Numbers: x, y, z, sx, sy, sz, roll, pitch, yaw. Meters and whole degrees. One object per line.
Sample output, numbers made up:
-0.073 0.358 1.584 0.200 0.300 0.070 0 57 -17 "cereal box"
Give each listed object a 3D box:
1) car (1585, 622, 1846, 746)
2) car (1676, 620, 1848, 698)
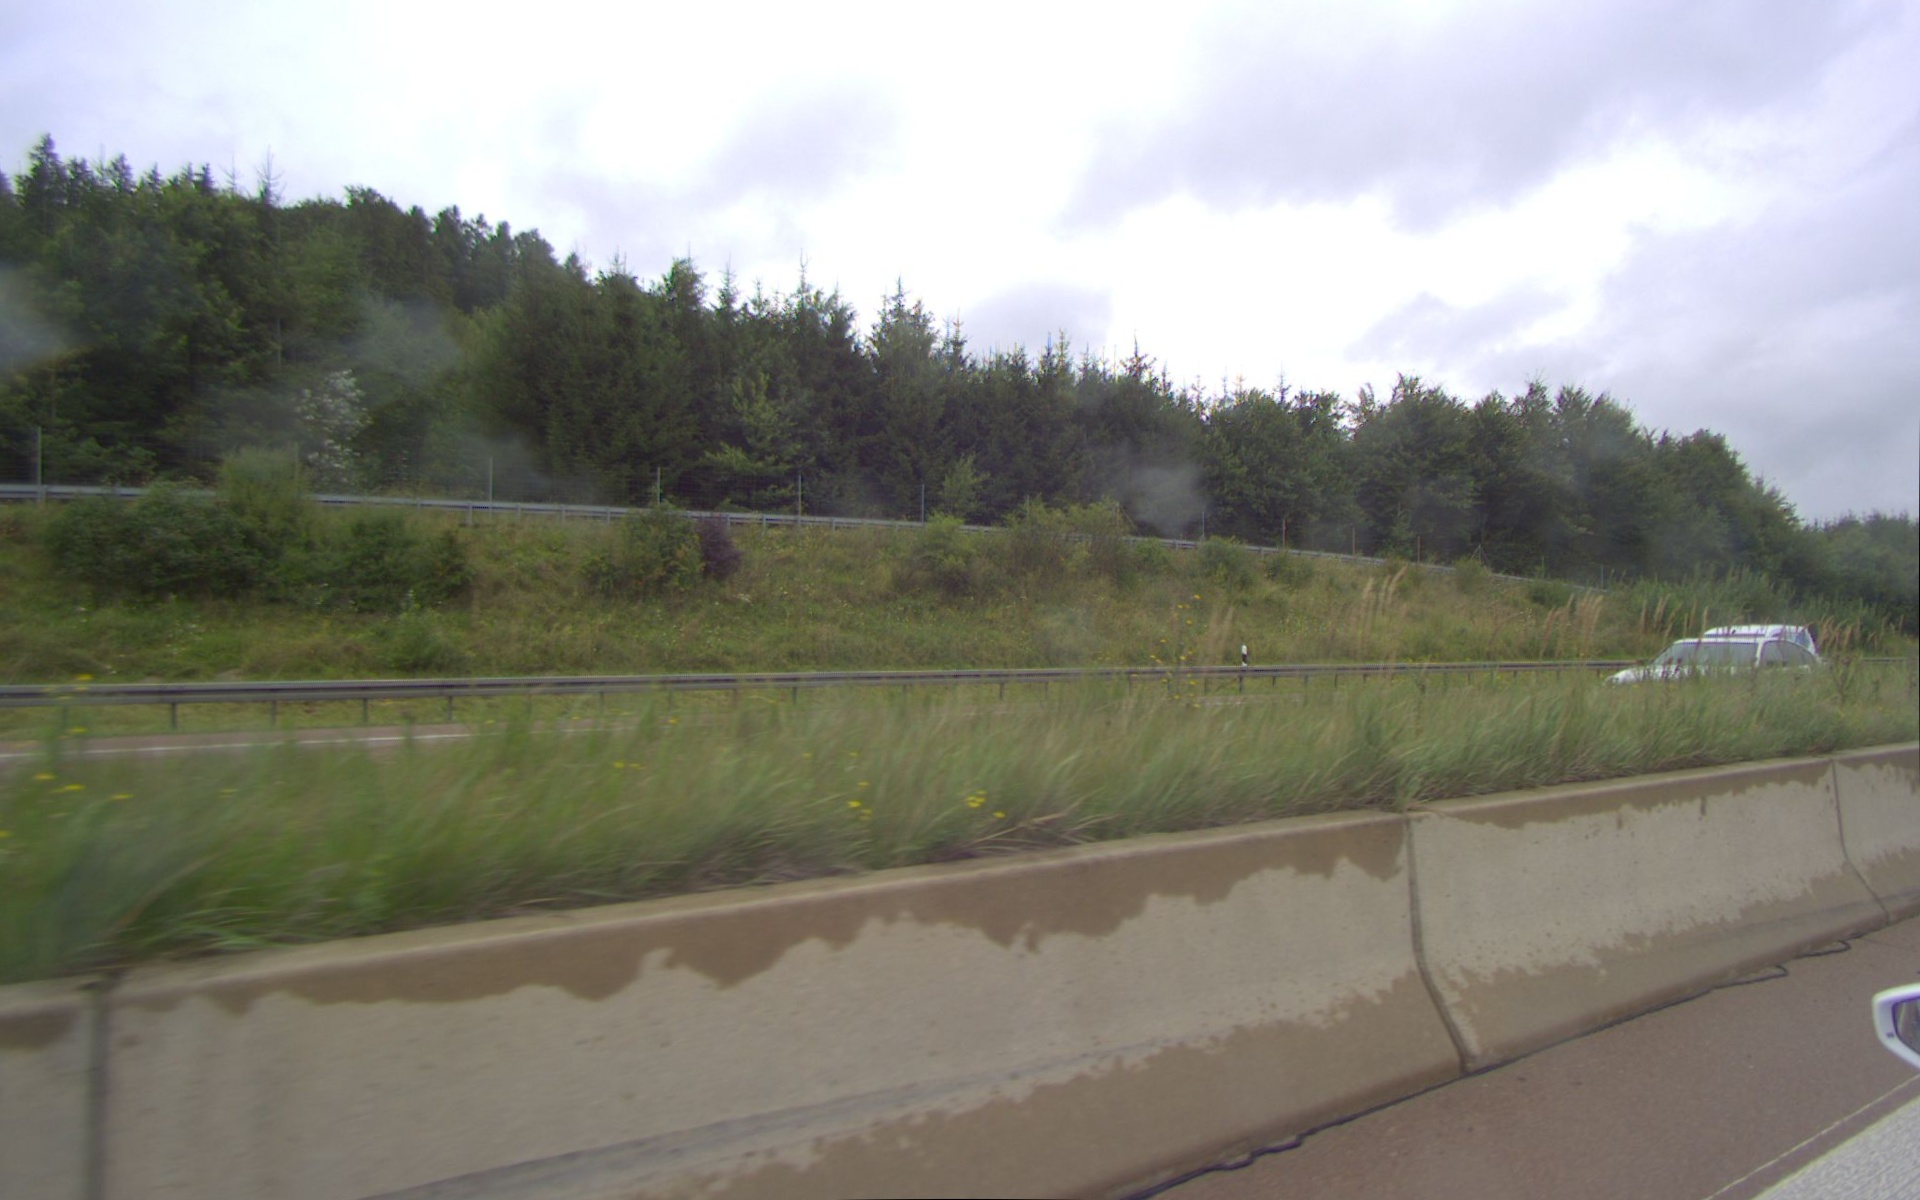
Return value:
11.928 1.280 15.796 4.393 1.669 1.670 3 0 -30 "car"
20.101 1.475 25.132 4.706 1.744 1.725 3 0 -30 "car"
